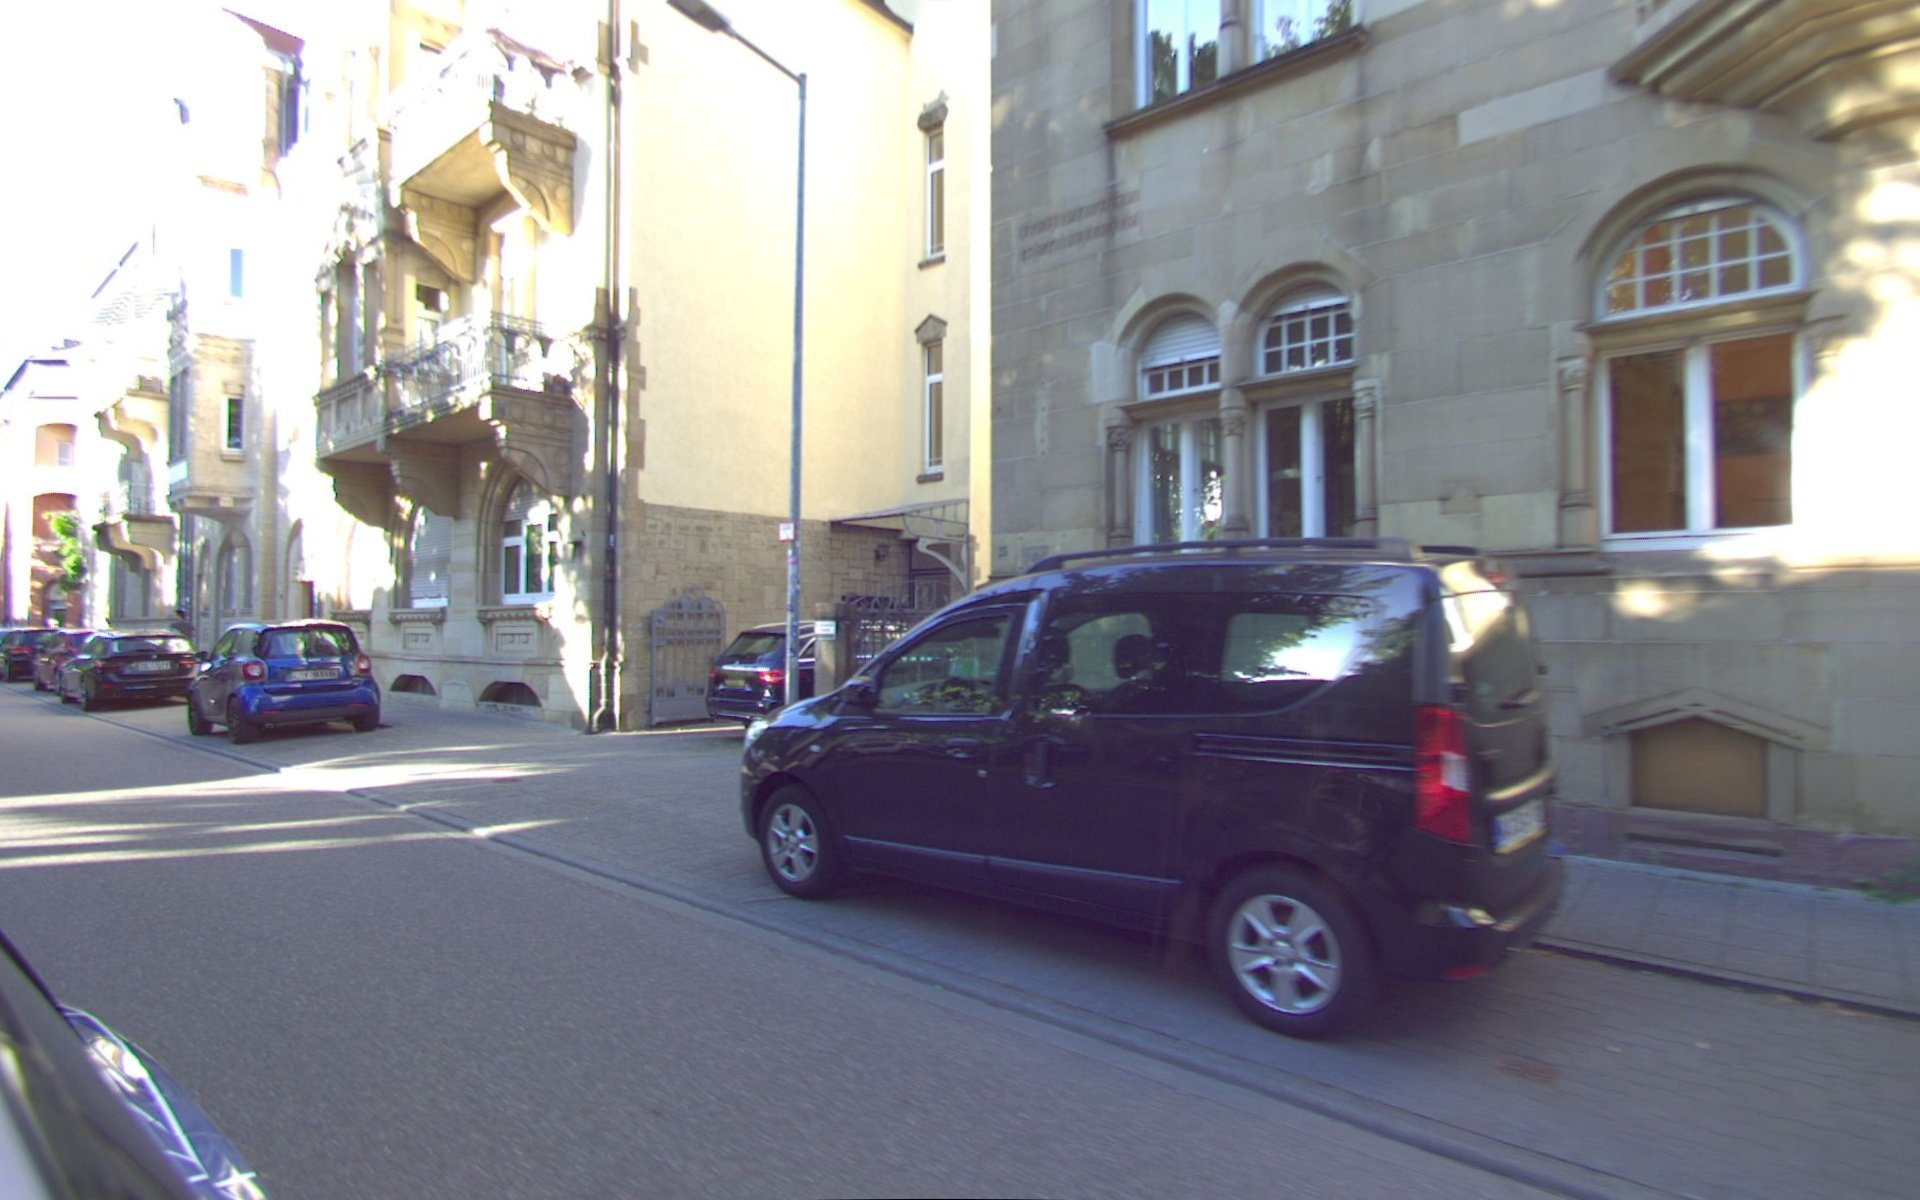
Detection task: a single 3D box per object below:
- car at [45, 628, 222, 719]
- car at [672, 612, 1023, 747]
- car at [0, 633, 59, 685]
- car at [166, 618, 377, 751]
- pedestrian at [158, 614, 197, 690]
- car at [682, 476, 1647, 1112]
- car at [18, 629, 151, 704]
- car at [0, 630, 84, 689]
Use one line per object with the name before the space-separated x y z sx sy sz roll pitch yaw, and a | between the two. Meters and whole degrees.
car | -16.139 1.347 19.675 4.539 1.449 1.881 -2 1 41
car | -1.346 0.920 13.437 2.068 1.449 4.342 -2 -1 43
car | -30.245 1.859 32.002 4.506 1.468 1.870 -2 1 39
car | -9.379 1.059 13.741 2.860 1.520 1.666 -2 1 41
pedestrian | -19.575 1.283 25.314 0.497 1.861 0.685 -2 -1 43
car | 0.627 0.627 5.153 4.540 1.866 1.751 -2 -2 41
car | -20.477 1.494 23.628 3.769 1.477 1.673 -2 2 39
car | -25.873 1.614 28.225 3.997 1.477 1.724 -2 -1 42
